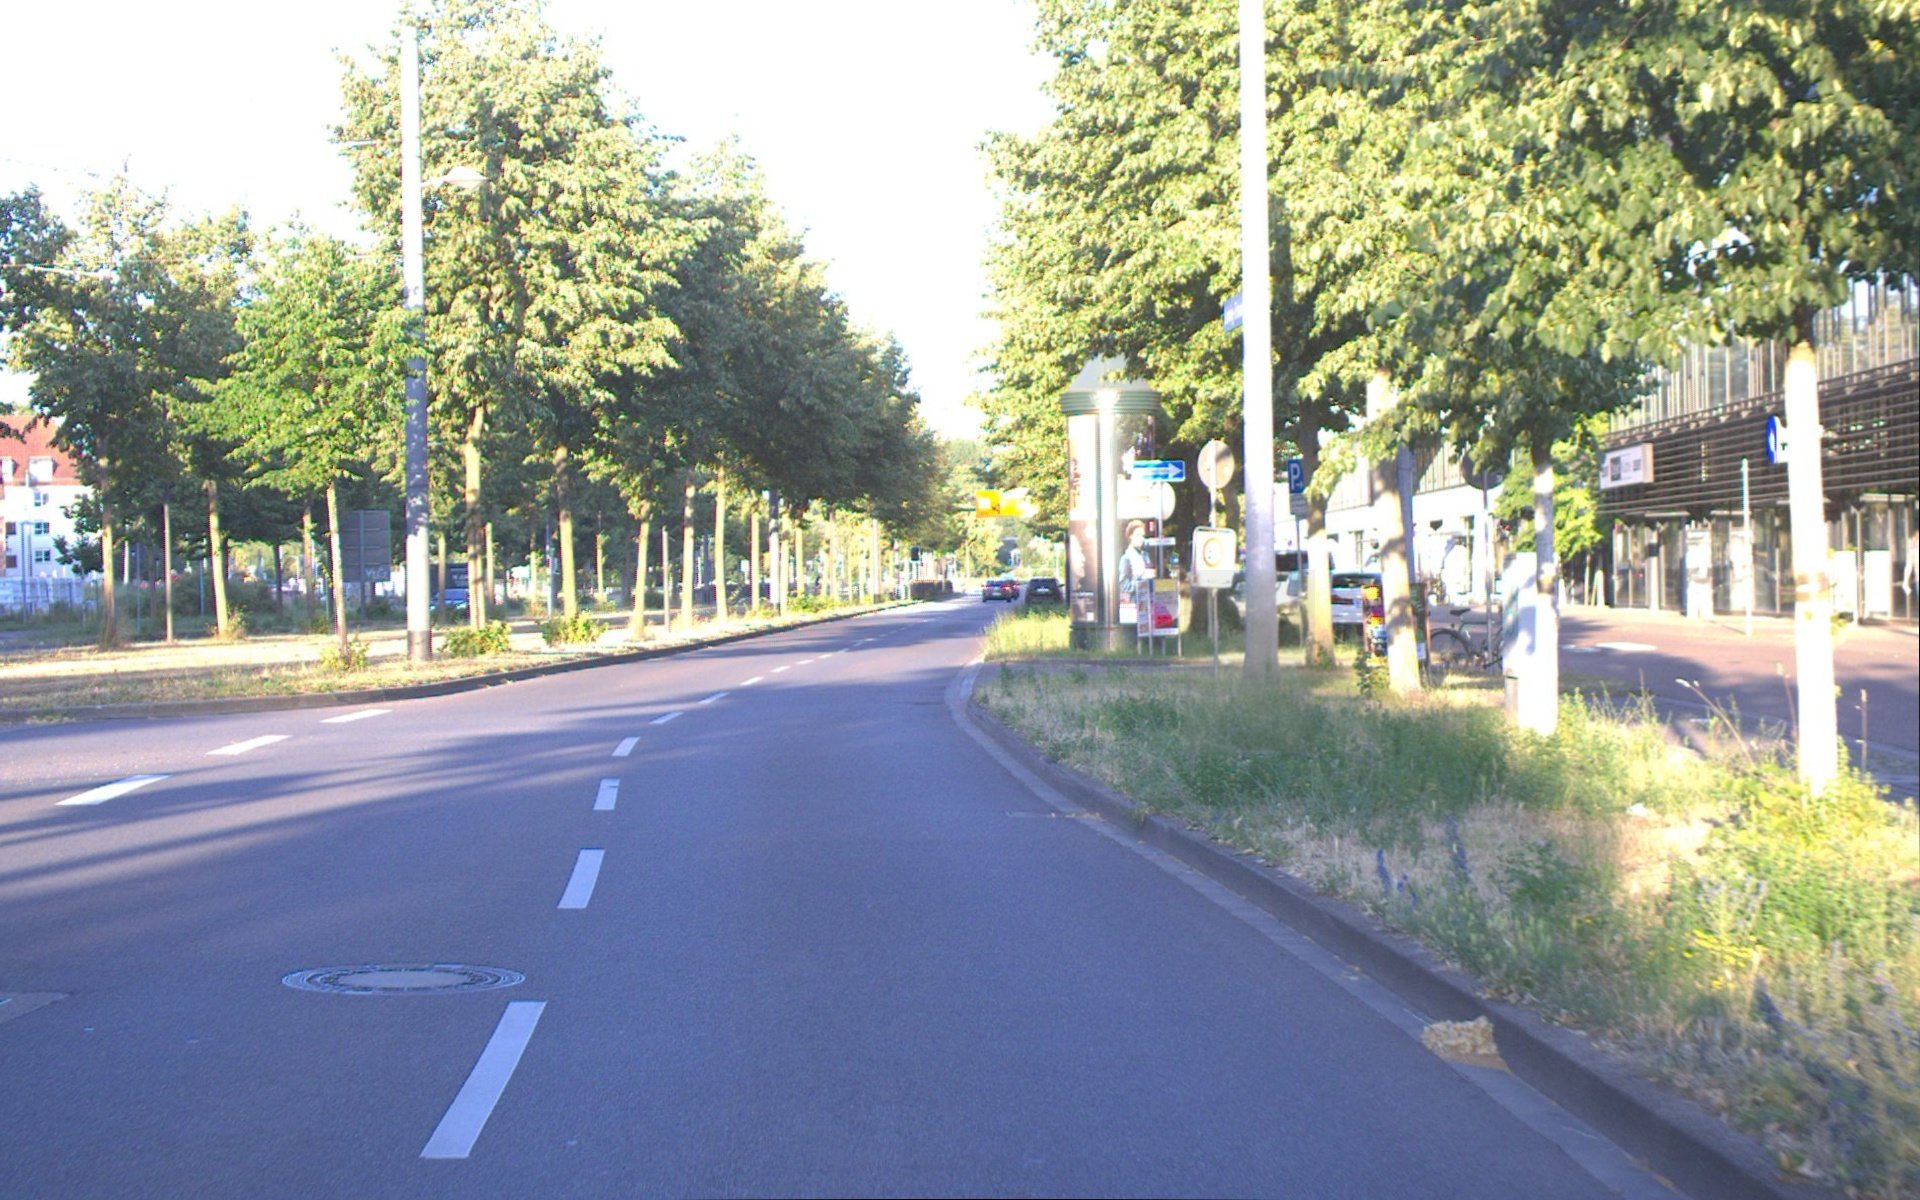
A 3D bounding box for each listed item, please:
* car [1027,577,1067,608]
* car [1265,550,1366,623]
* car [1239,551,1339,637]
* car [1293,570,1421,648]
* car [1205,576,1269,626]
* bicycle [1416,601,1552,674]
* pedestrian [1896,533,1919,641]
[{"bbox_3d":[4.244,-0.370,167.792,1.912,1.481,4.000,0,0,1],"label":"car"},{"bbox_3d":[7.640,-0.313,74.202,1.859,1.491,4.290,-1,1,2],"label":"car"},{"bbox_3d":[7.786,-0.151,81.757,1.986,1.982,4.932,0,0,1],"label":"car"},{"bbox_3d":[7.834,0.165,68.227,1.917,1.491,5.041,0,0,0],"label":"car"},{"bbox_3d":[8.887,0.021,110.424,1.780,1.489,4.000,2,0,2],"label":"car"},{"bbox_3d":[6.648,0.471,43.663,1.721,0.907,0.361,-1,1,35],"label":"bicycle"},{"bbox_3d":[16.277,-0.228,57.610,0.896,1.790,0.912,-1,0,0],"label":"pedestrian"}]
